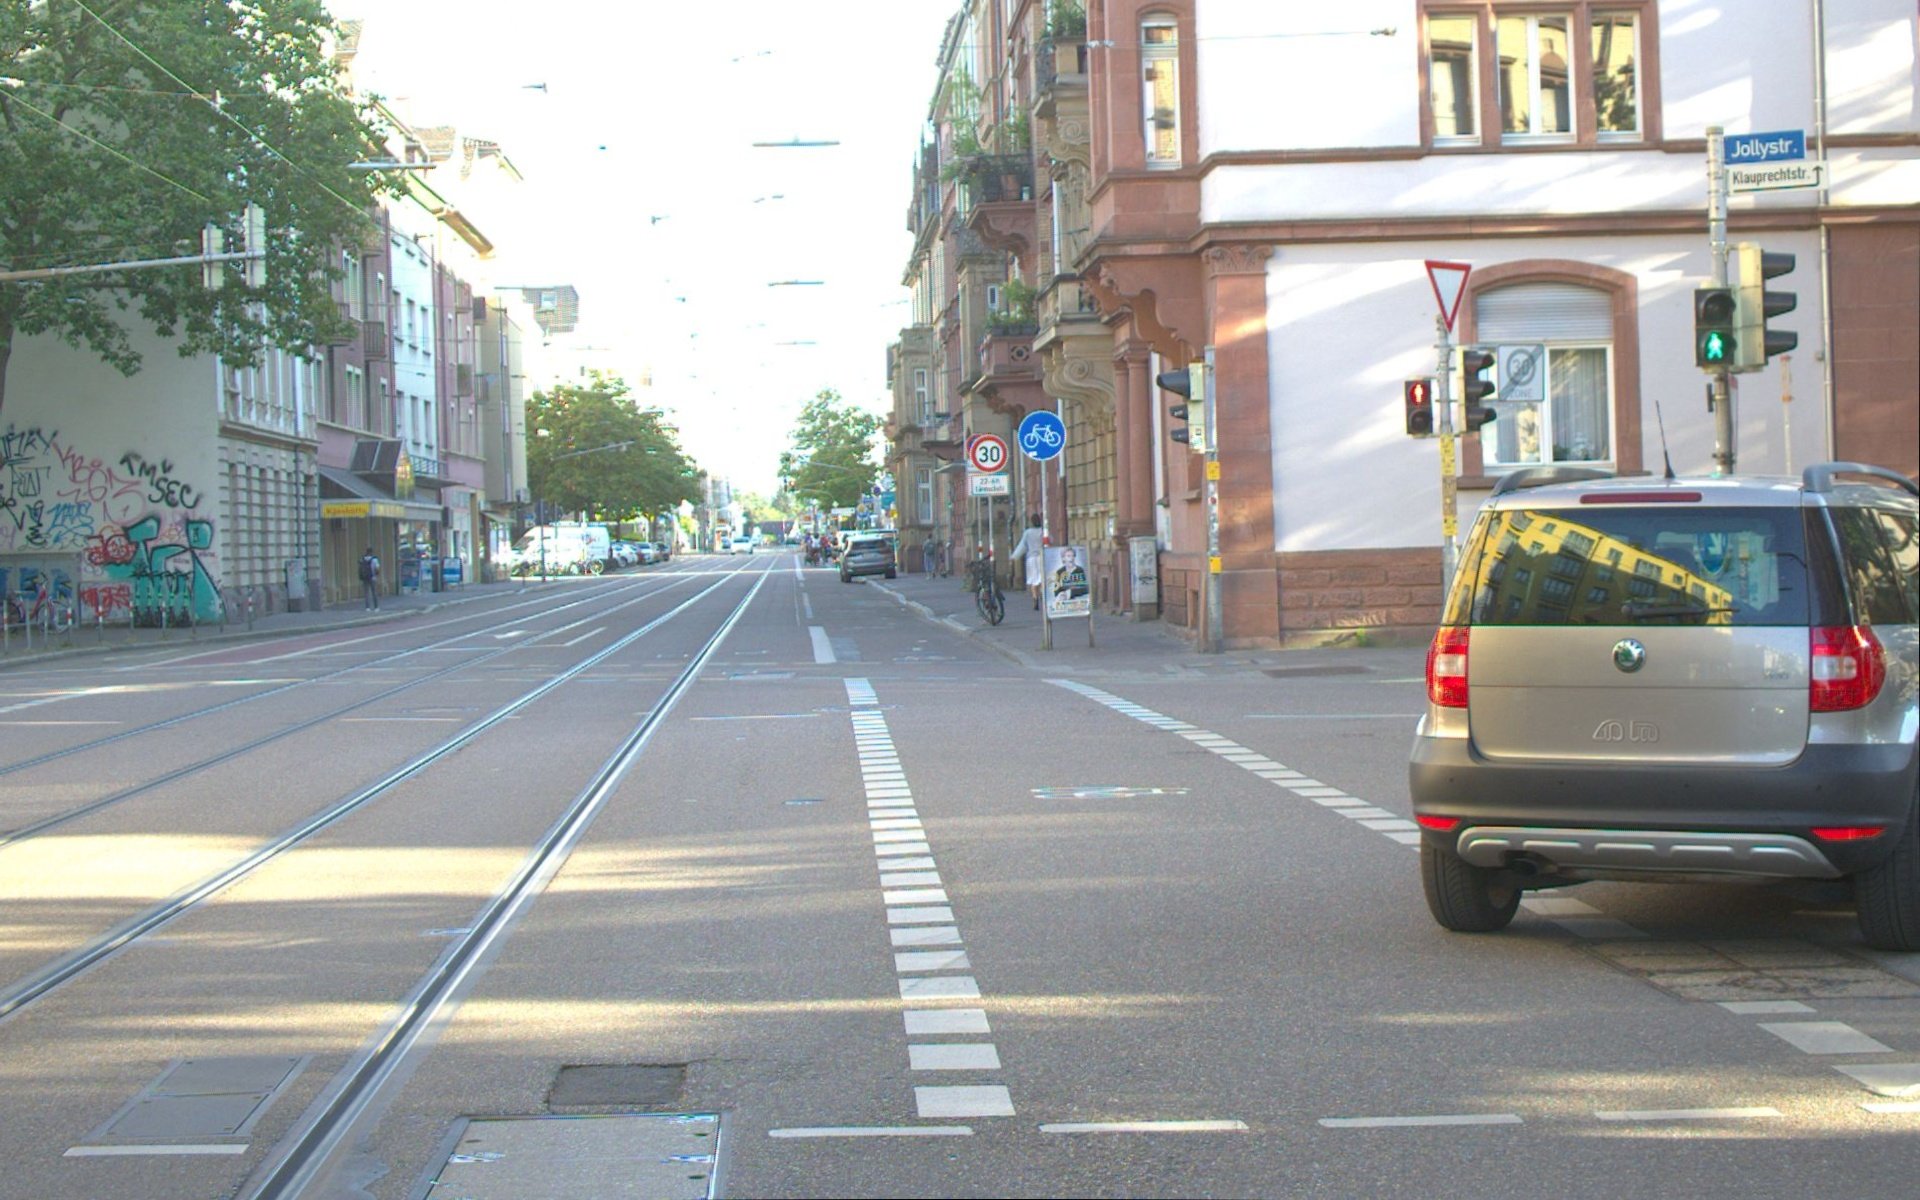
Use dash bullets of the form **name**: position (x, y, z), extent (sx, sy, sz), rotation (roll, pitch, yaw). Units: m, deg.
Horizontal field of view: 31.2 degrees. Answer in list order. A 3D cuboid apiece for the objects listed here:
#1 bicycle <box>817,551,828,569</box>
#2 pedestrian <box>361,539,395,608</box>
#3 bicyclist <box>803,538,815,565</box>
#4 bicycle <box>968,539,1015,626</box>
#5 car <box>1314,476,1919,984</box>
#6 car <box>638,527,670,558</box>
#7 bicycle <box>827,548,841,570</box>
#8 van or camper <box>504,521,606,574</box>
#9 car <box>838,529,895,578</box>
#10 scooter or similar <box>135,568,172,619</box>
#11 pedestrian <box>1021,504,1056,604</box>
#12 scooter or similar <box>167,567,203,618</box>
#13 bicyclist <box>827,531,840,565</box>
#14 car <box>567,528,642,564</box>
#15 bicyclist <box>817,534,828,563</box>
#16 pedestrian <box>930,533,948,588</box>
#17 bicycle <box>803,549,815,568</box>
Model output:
- **bicycle**: position (-7.933, -2.312, 198.921), extent (0.575, 1.026, 1.895), rotation (-2, 1, -1)
- **pedestrian**: position (-14.799, -0.686, 87.413), extent (0.701, 1.722, 0.648), rotation (-2, 1, -2)
- **bicyclist**: position (-8.214, -2.635, 186.714), extent (0.575, 1.489, 0.795), rotation (-2, 1, -1)
- **bicycle**: position (0.485, -0.287, 53.674), extent (0.653, 1.319, 2.177), rotation (-2, 1, 0)
- **car**: position (3.015, 0.373, 13.145), extent (1.996, 1.612, 3.994), rotation (1, 1, 27)
- **car**: position (-20.860, -3.921, 234.264), extent (1.993, 2.007, 4.001), rotation (-2, 1, -3)
- **bicycle**: position (-5.857, -1.914, 159.874), extent (0.575, 1.026, 1.895), rotation (-2, 1, -1)
- **van or camper**: position (-20.308, -2.633, 172.355), extent (4.635, 2.554, 2.000), rotation (-2, 1, -33)
- **car**: position (-3.324, -1.677, 122.935), extent (1.950, 1.678, 4.000), rotation (-2, 1, -1)
- **scooter or similar**: position (-17.248, -0.144, 73.546), extent (0.516, 1.042, 1.478), rotation (-2, 1, -4)
- **pedestrian**: position (1.408, -0.825, 61.657), extent (0.544, 1.774, 0.504), rotation (-2, 1, -2)
- **scooter or similar**: position (-16.591, -0.165, 73.606), extent (0.516, 1.053, 1.478), rotation (-2, 1, -4)
- **bicyclist**: position (-5.875, -2.411, 159.860), extent (0.575, 1.548, 0.595), rotation (-2, 1, -1)
- **car**: position (-21.484, -3.254, 207.778), extent (3.986, 2.007, 2.000), rotation (-2, 1, -27)
- **bicyclist**: position (-7.962, -2.987, 198.893), extent (0.575, 1.673, 0.795), rotation (-2, 1, -1)
- **pedestrian**: position (-0.688, -1.308, 112.449), extent (0.544, 1.774, 0.749), rotation (-2, 1, -2)
- **bicycle**: position (-8.195, -2.248, 186.727), extent (0.575, 1.026, 1.895), rotation (-2, 1, -1)
